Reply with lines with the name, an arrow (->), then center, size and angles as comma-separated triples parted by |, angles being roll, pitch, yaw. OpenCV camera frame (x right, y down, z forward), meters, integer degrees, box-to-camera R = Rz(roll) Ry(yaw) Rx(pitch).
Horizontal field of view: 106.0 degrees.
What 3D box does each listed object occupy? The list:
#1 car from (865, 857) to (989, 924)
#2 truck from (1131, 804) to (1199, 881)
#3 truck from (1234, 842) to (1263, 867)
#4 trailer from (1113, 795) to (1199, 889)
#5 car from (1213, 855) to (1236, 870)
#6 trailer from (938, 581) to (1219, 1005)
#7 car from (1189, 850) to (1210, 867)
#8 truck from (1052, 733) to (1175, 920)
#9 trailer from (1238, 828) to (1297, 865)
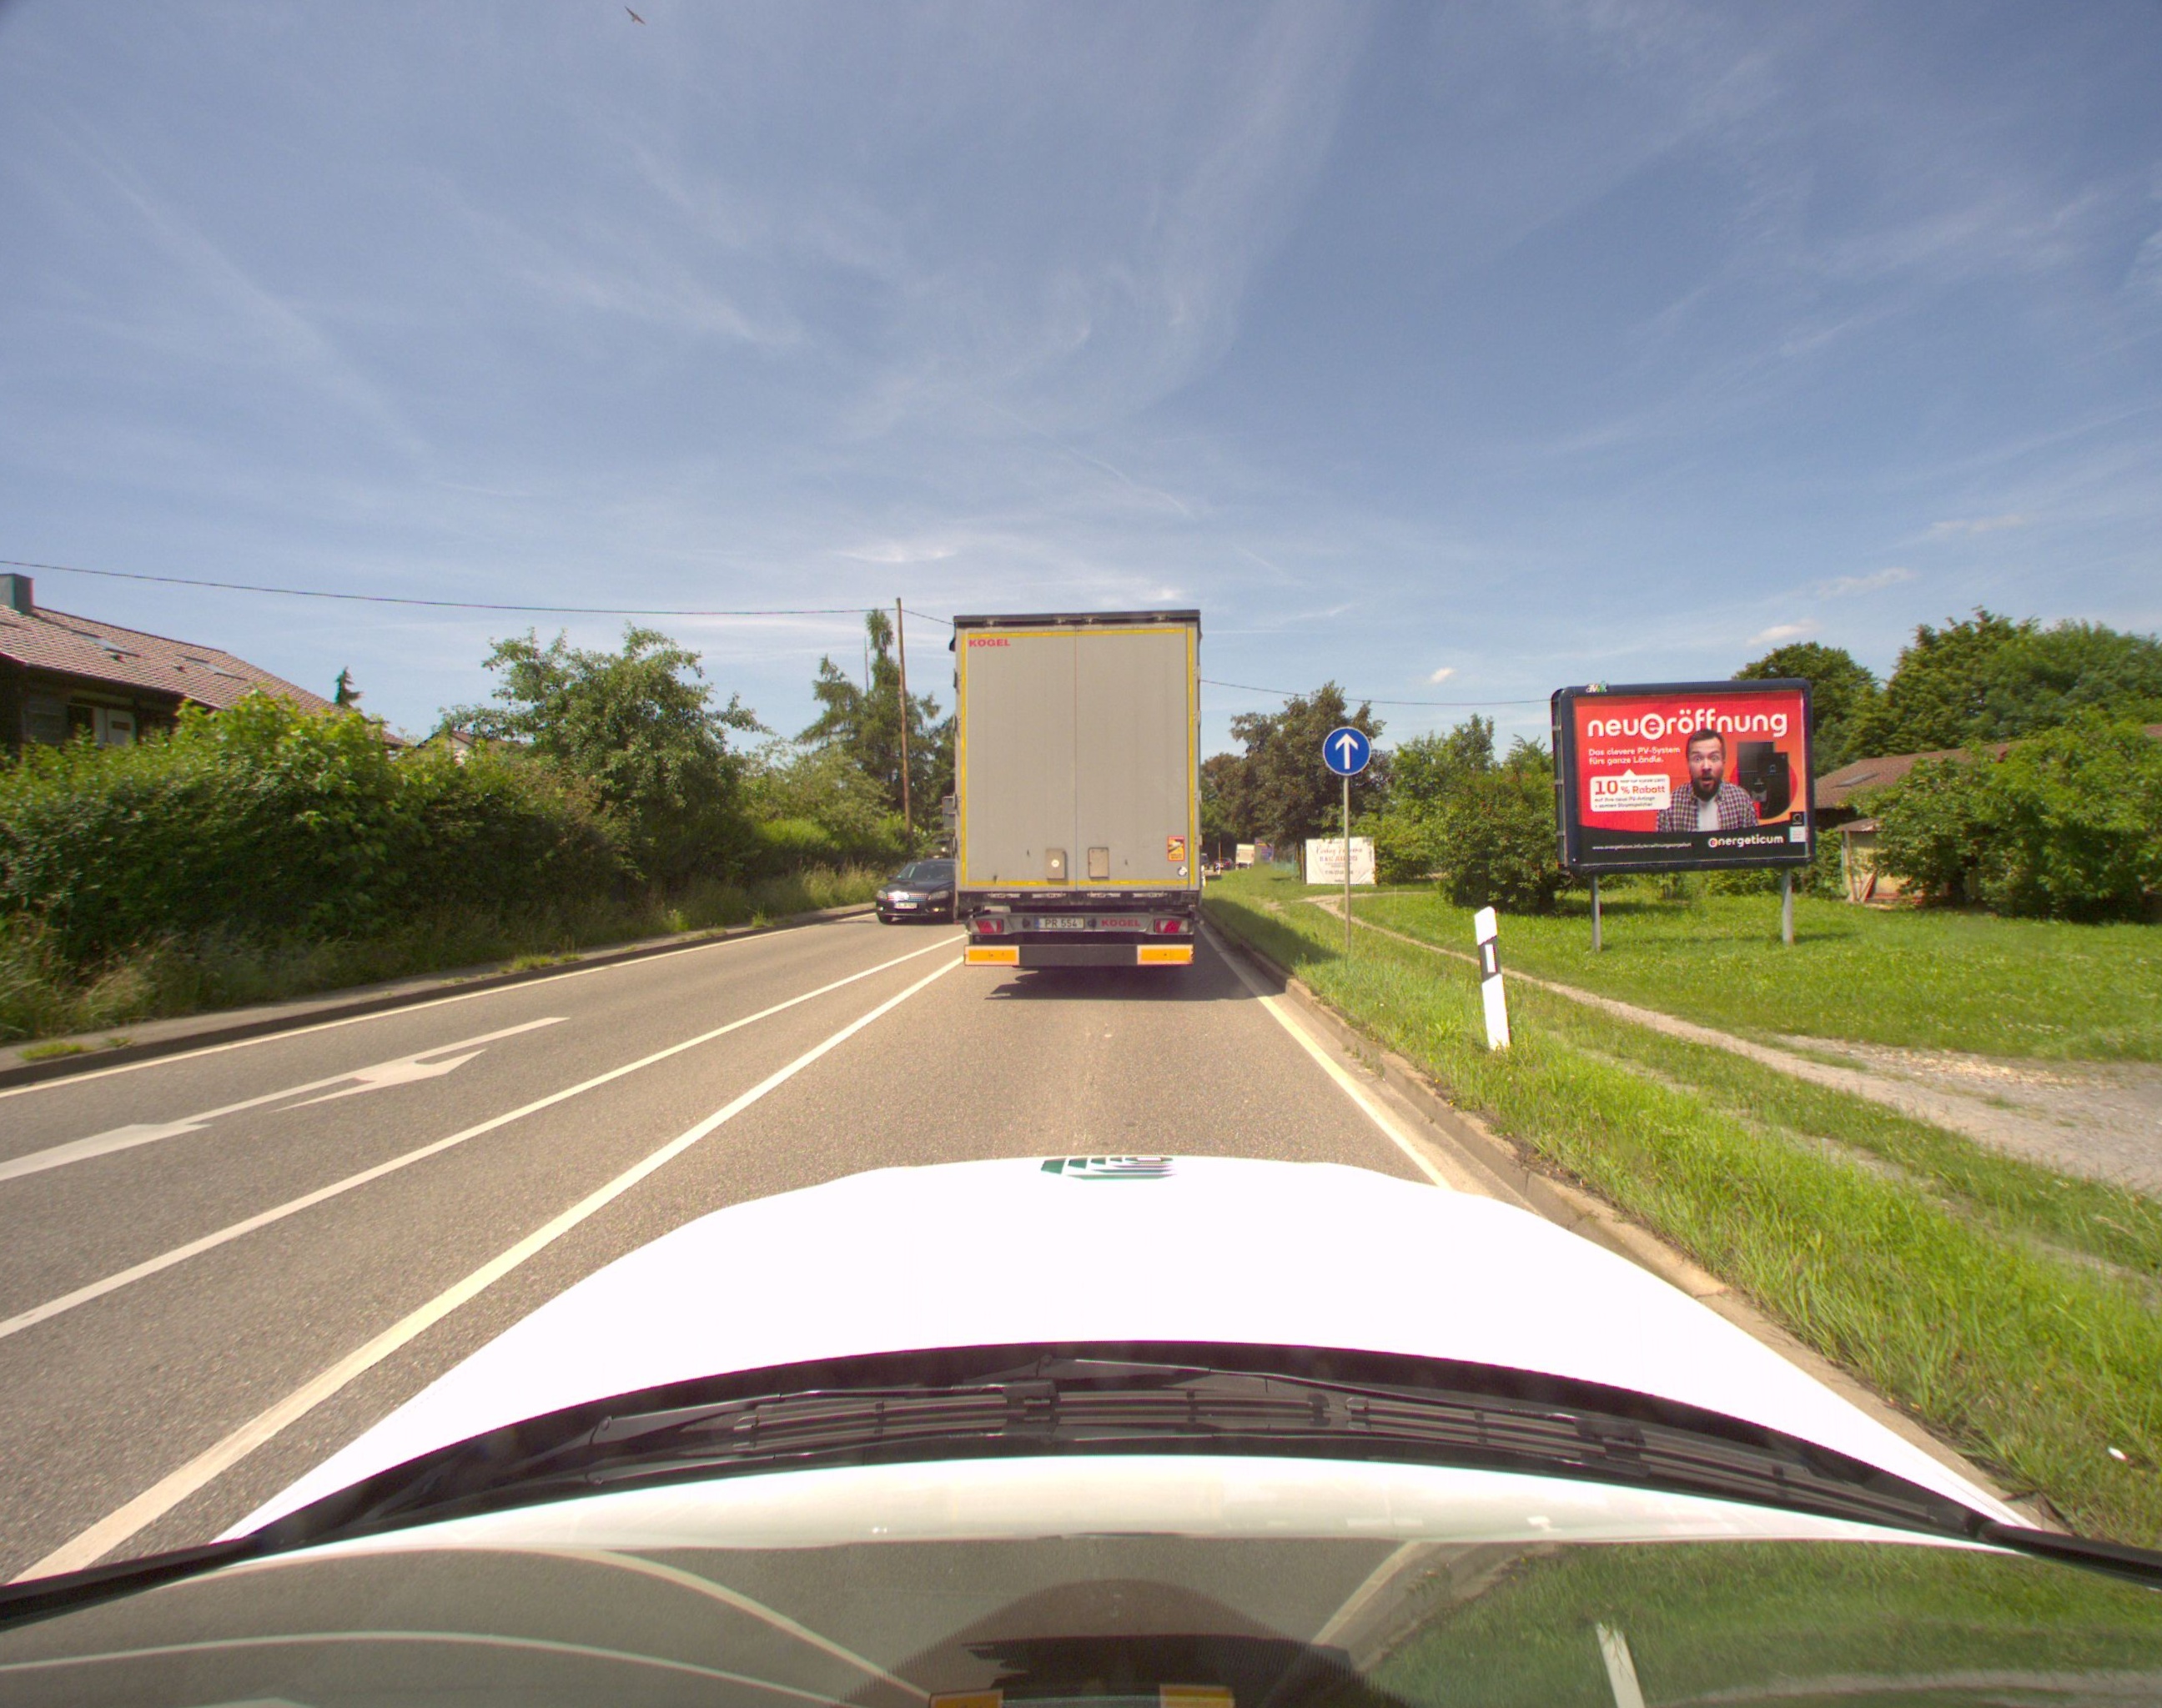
car -> -3.584, 0.797, 19.858 | 1.807, 1.417, 4.619 | -1, 0, 4
truck -> 5.601, -0.670, 52.871 | 3.913, 4.574, 7.170 | -1, 0, 9
truck -> 19.899, -0.009, 96.665 | 2.400, 2.838, 5.441 | -1, 0, 21
trailer -> 4.572, -0.582, 46.183 | 3.868, 4.521, 12.746 | -1, 0, 9
car -> 15.085, 0.911, 85.488 | 1.827, 1.486, 4.018 | -1, 0, 17
trailer -> 0.428, -0.647, 14.227 | 2.774, 4.205, 12.126 | -1, 0, 4
car -> 13.449, 0.484, 92.391 | 1.980, 1.837, 4.015 | -1, 0, 13
truck -> 1.087, -0.639, 21.459 | 2.731, 4.165, 6.154 | -1, 0, 6
trailer -> 26.050, -1.054, 112.669 | 5.133, 4.628, 15.984 | -1, 0, 23
